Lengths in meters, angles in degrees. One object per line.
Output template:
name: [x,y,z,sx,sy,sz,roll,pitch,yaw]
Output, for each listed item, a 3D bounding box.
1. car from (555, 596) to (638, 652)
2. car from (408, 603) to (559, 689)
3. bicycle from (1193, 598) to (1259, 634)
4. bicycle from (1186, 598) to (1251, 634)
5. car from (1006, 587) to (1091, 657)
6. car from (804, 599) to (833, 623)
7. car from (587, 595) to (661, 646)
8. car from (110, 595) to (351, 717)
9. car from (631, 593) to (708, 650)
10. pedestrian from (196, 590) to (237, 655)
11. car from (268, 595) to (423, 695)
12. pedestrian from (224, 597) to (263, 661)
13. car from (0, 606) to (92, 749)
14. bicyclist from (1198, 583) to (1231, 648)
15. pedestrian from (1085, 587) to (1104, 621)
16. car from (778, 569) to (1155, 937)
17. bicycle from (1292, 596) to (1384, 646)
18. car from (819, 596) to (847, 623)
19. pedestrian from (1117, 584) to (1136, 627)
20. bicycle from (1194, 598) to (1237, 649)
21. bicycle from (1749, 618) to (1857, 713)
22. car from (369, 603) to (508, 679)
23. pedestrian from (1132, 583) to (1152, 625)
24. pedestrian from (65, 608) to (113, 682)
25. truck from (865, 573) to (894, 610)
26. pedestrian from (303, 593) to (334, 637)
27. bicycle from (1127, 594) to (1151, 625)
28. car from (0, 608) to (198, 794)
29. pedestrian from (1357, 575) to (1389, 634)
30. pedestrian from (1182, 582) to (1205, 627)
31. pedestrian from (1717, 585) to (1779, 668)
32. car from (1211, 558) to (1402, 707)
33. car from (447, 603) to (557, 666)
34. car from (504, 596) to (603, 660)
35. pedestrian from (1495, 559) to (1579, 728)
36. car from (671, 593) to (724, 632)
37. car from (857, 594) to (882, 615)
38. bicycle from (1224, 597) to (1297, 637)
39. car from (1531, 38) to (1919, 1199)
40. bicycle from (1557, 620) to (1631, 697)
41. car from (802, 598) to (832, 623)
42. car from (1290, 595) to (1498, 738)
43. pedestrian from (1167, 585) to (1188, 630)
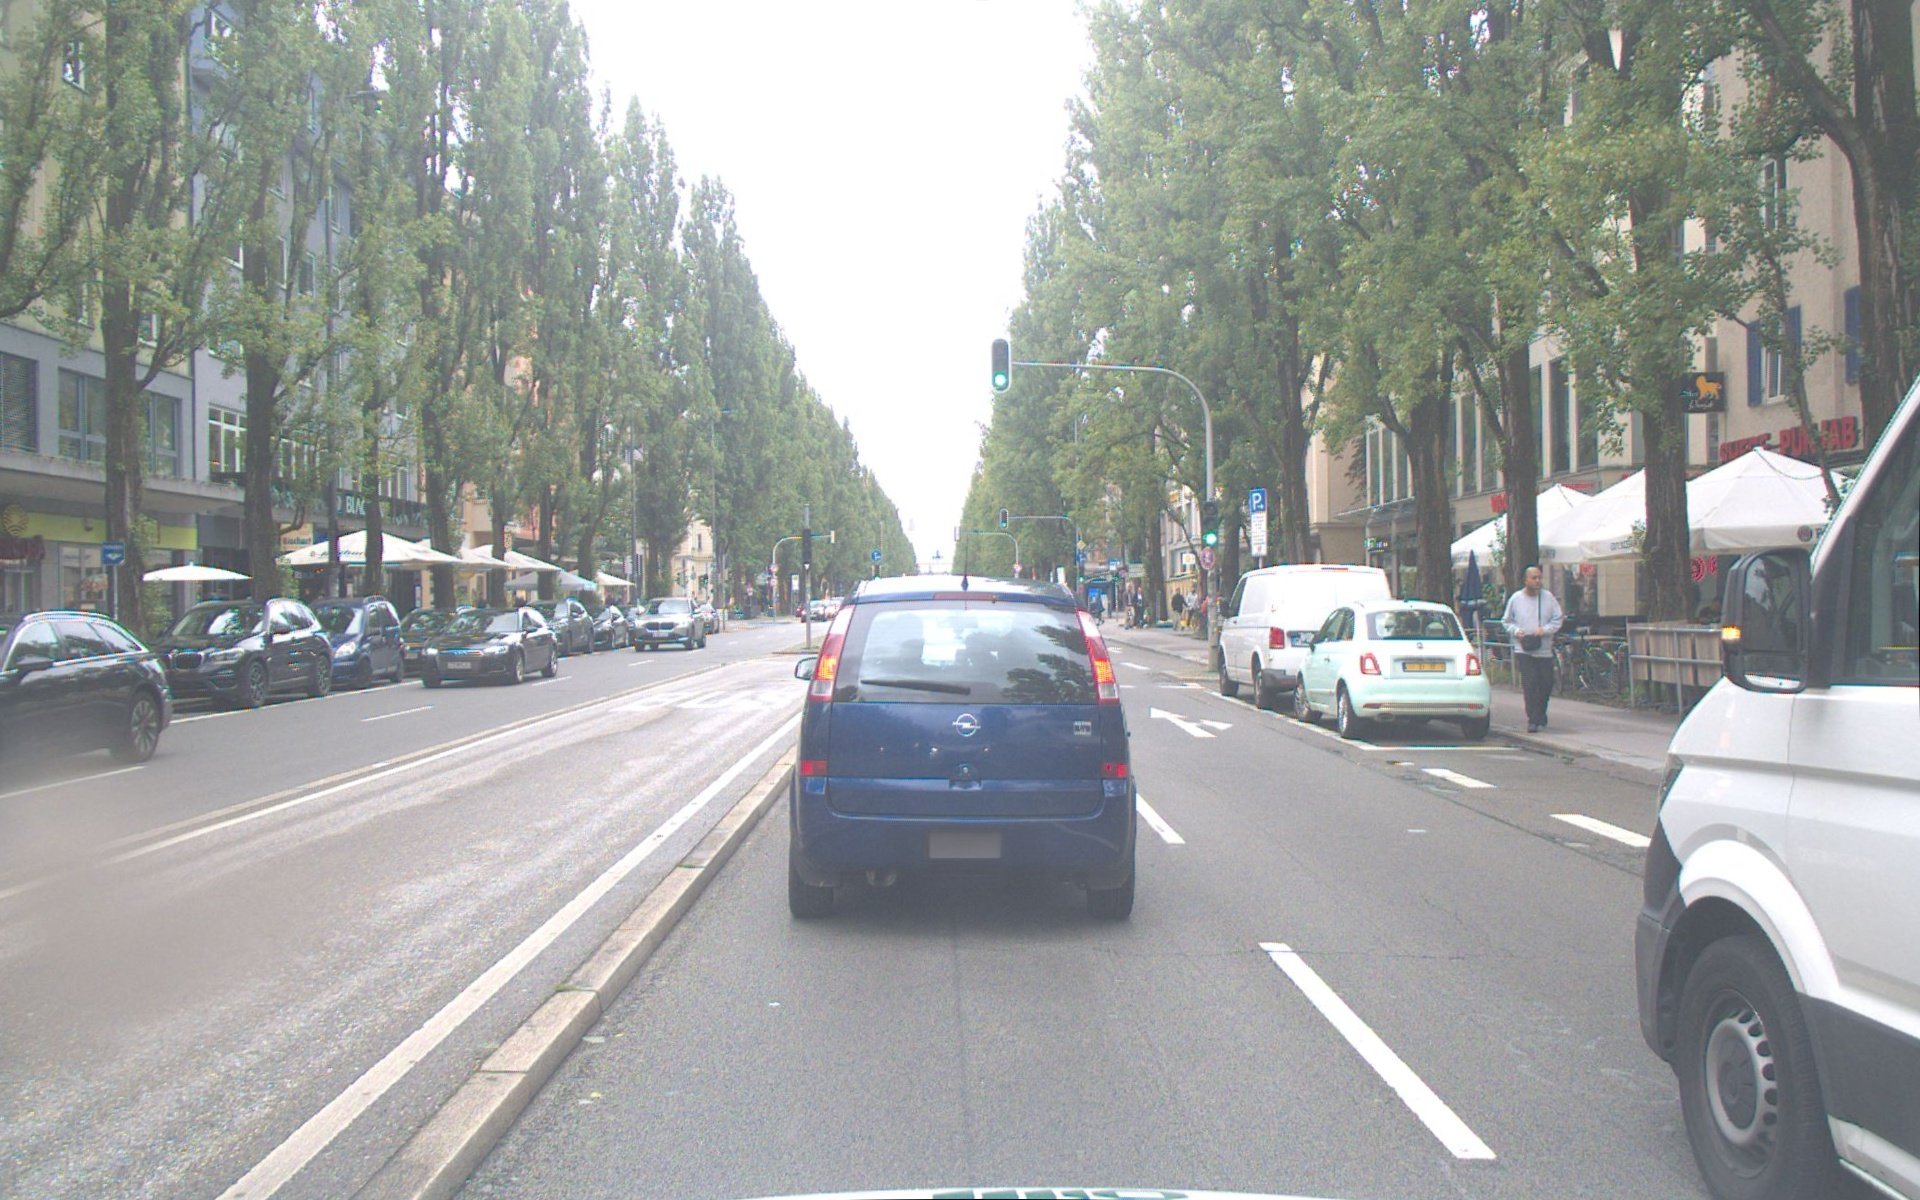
car: [-11.941,0.755,54.610,1.828,1.694,4.119,-2,0,-1]
car: [-9.090,0.833,31.891,1.710,1.459,4.129,-2,0,-1]
bicycle: [9.223,0.551,57.400,2.182,1.225,0.626,-1,0,-3]
bicycle: [9.178,0.552,58.778,2.182,1.225,0.626,-1,0,-3]
car: [2.145,0.521,41.183,1.858,1.650,3.999,0,0,-1]
car: [-10.497,0.824,122.802,1.828,1.695,4.119,-1,0,-1]
car: [-12.097,0.708,59.743,1.828,1.694,4.119,-2,0,-1]
car: [-11.569,0.816,26.606,1.828,1.693,4.610,-2,0,-1]
car: [-9.180,0.644,52.612,1.735,1.663,4.454,-2,0,-2]
pedestrian: [-19.759,0.594,43.954,0.740,1.715,0.675,-1,-1,0]
car: [-11.797,0.808,31.991,1.676,1.751,3.919,-2,0,-4]
pedestrian: [-19.655,0.789,45.401,0.740,1.715,0.675,-1,-1,0]
car: [-11.657,0.915,18.245,1.828,1.579,4.413,-2,0,-1]
bicyclist: [7.105,0.426,46.176,0.752,1.797,0.885,-1,0,-1]
pedestrian: [7.063,0.209,86.847,0.865,1.797,0.769,-1,0,-4]
car: [0.010,0.657,9.197,1.637,1.596,3.999,0,0,-1]
bicycle: [9.711,0.546,42.508,2.182,1.225,0.626,-1,0,-3]
car: [-10.055,0.749,130.849,1.953,2.049,3.999,-1,0,-1]
pedestrian: [7.340,0.237,72.974,0.625,1.859,0.885,1,-1,-11]
bicycle: [7.103,0.629,46.114,0.757,1.372,2.449,-1,0,-1]
bicycle: [9.509,0.722,18.703,0.342,1.013,1.453,-2,0,-4]
car: [-11.741,0.879,37.516,1.762,1.514,4.349,-2,0,-1]
pedestrian: [8.060,0.164,73.415,0.625,1.859,0.885,1,-1,-11]
pedestrian: [-20.860,1.072,39.624,0.740,1.715,0.675,-1,-1,1]
truck: [-7.488,-0.796,154.371,2.334,3.405,7.109,-1,0,-1]
pedestrian: [-21.001,0.496,54.162,0.750,1.434,0.799,1,-1,-6]
bicycle: [8.243,0.422,76.131,0.757,1.372,2.449,-1,0,-1]
car: [-8.719,0.874,14.751,1.663,1.488,4.712,-2,0,-1]
pedestrian: [12.257,0.132,49.092,0.660,1.715,0.758,-1,-1,-5]
pedestrian: [9.721,0.175,68.854,0.707,1.859,0.885,1,-1,-11]
pedestrian: [13.038,0.427,27.381,0.625,1.347,0.800,-1,0,-1]
car: [4.980,0.424,24.400,1.751,1.980,4.729,0,0,-1]
car: [-11.788,0.859,42.798,1.698,1.450,4.142,-2,0,-1]
car: [-11.909,0.782,48.684,1.828,1.694,4.400,-2,0,-1]
pedestrian: [6.350,0.466,18.242,0.810,1.804,0.871,-1,0,17]
car: [-12.330,0.578,77.803,1.828,1.694,4.119,-2,0,-1]
car: [-6.719,0.332,123.088,1.699,1.491,3.364,-1,0,-1]
bicycle: [9.602,0.542,52.887,2.182,1.225,0.626,-1,0,-3]
car: [2.770,0.252,1.664,2.021,2.536,6.729,0,0,-1]
bicycle: [8.797,0.792,23.000,0.342,1.013,1.453,-2,0,-4]
car: [-10.048,0.705,116.351,1.828,1.695,4.119,-1,0,-1]
car: [4.971,0.708,19.373,1.509,1.518,3.523,0,0,0]
pedestrian: [9.016,0.301,68.569,0.625,1.859,0.885,1,-1,-11]
